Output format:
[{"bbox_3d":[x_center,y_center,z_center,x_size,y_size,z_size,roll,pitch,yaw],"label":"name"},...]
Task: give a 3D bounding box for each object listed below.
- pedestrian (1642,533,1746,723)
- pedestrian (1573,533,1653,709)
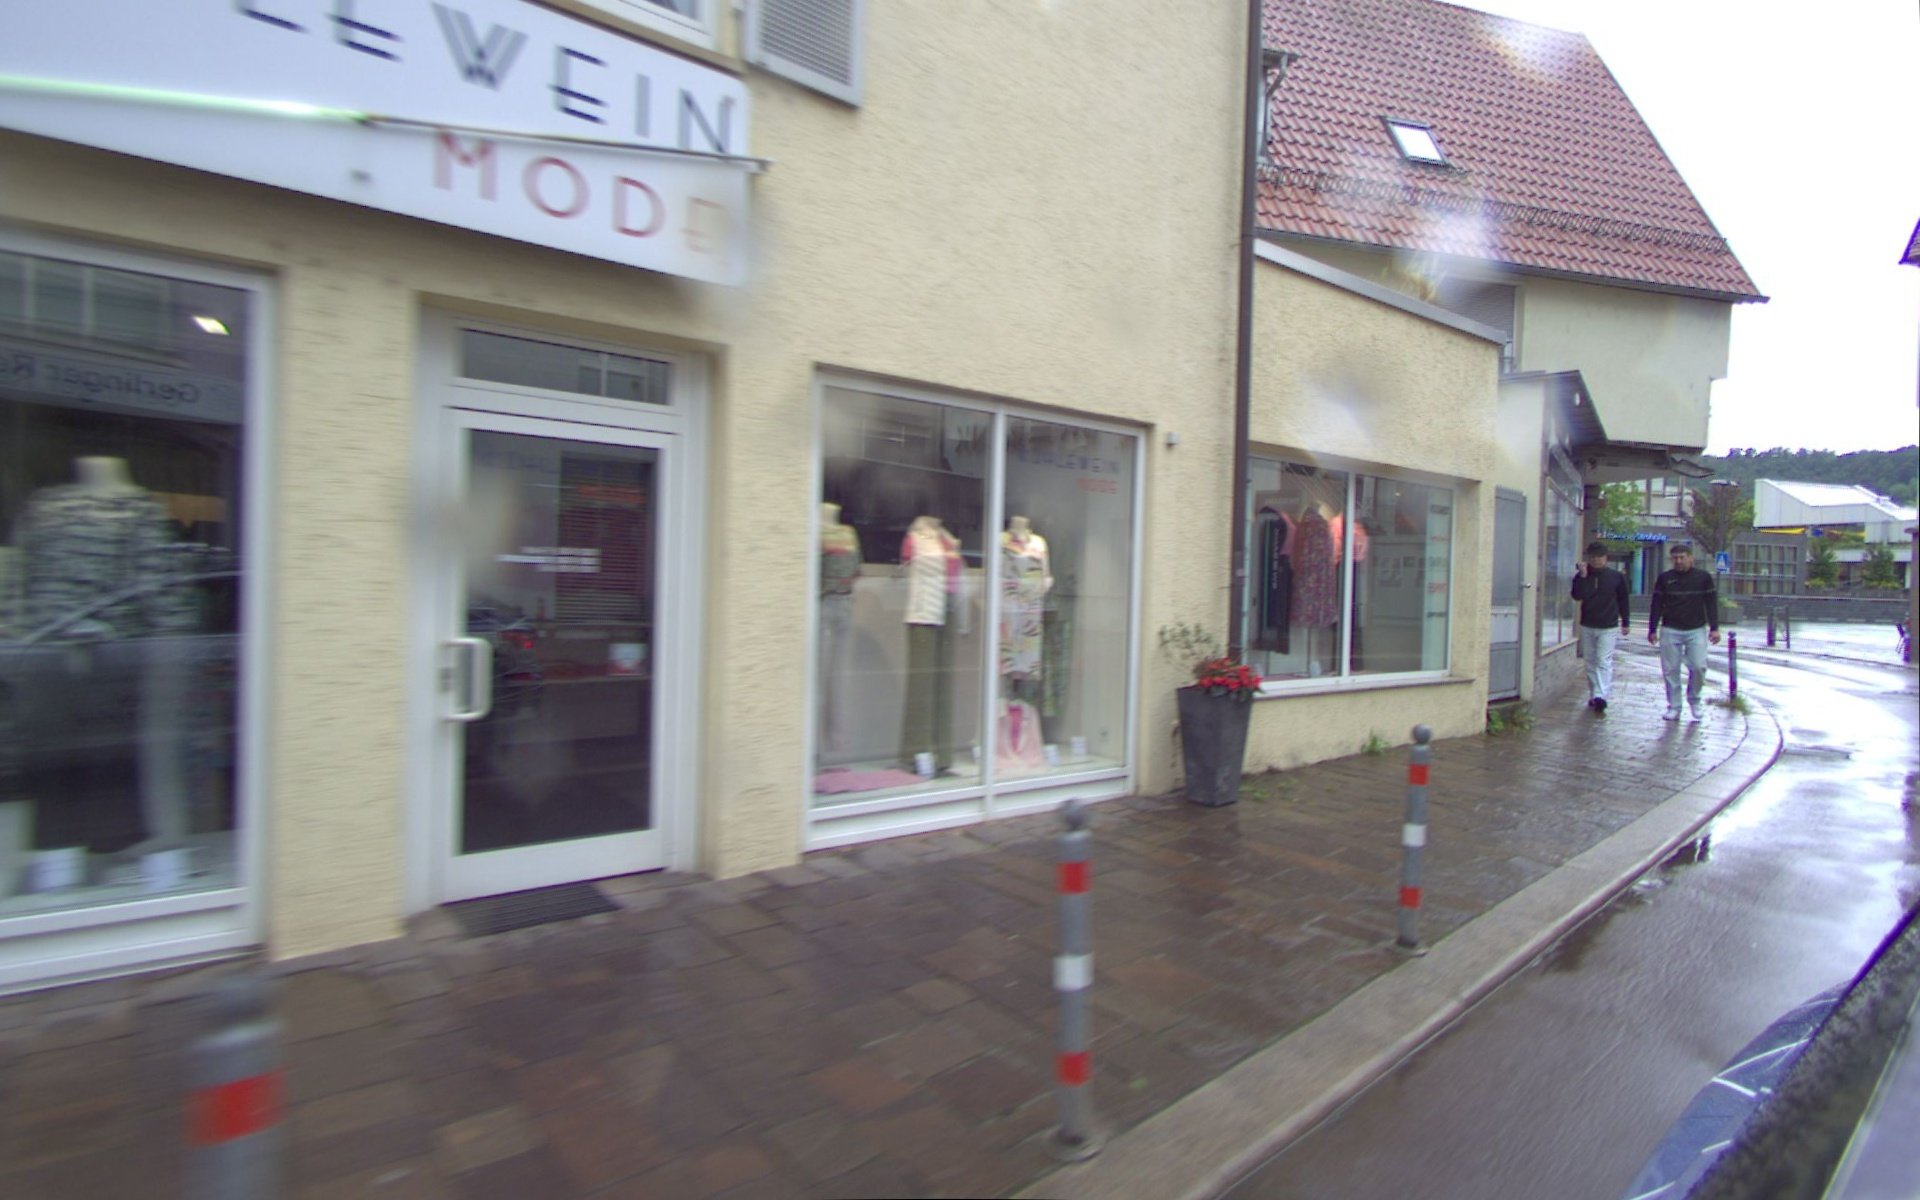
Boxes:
[{"bbox_3d":[7.877,0.265,10.904,0.769,1.927,0.796,4,3,33],"label":"pedestrian"},{"bbox_3d":[7.481,0.216,11.610,0.651,1.926,0.651,4,3,33],"label":"pedestrian"}]
